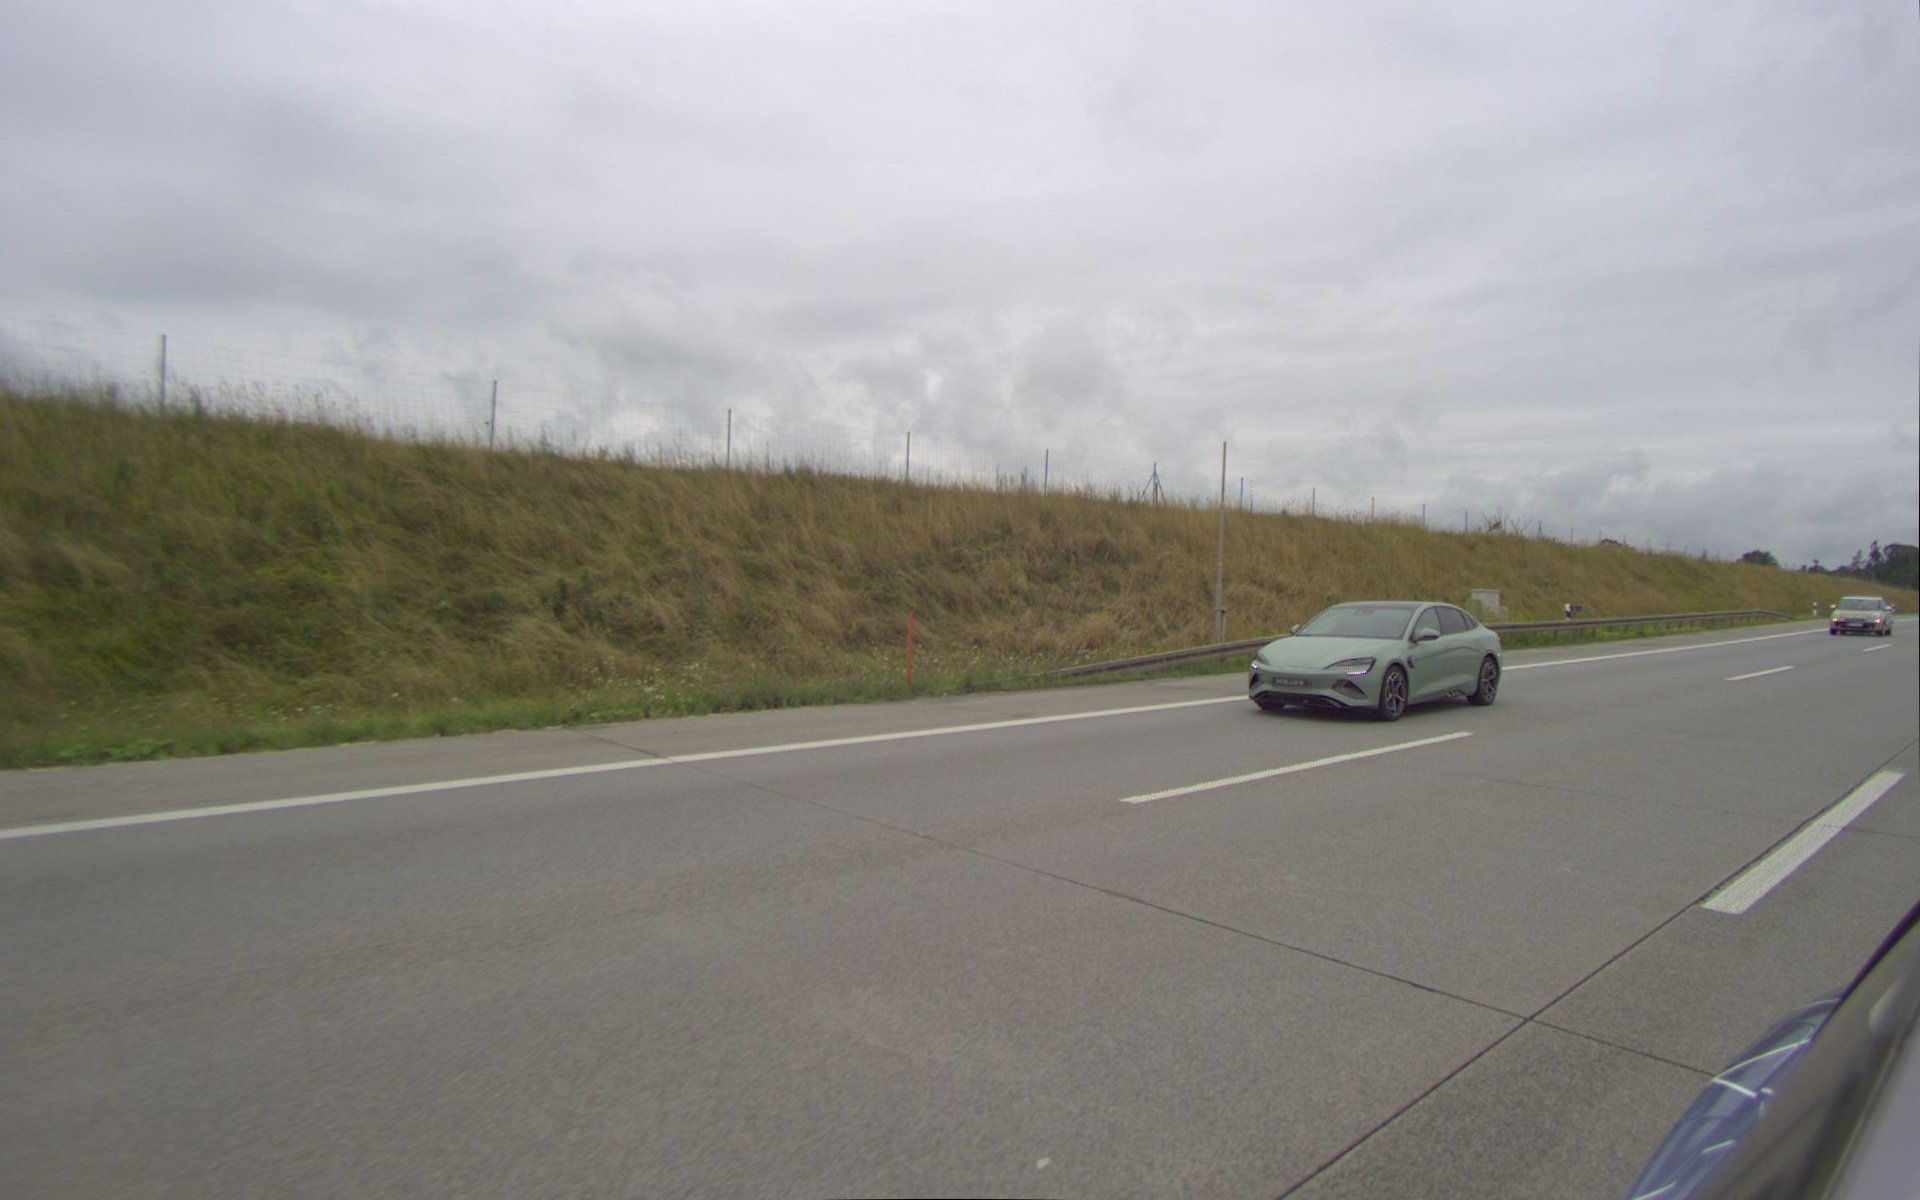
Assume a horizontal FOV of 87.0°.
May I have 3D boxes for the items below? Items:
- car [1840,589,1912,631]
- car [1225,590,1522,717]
[{"bbox_3d":[39.223,0.427,43.301,4.492,1.624,1.788,1,2,-42],"label":"car"},{"bbox_3d":[5.843,0.670,14.005,4.663,1.464,2.016,1,-2,-42],"label":"car"}]
